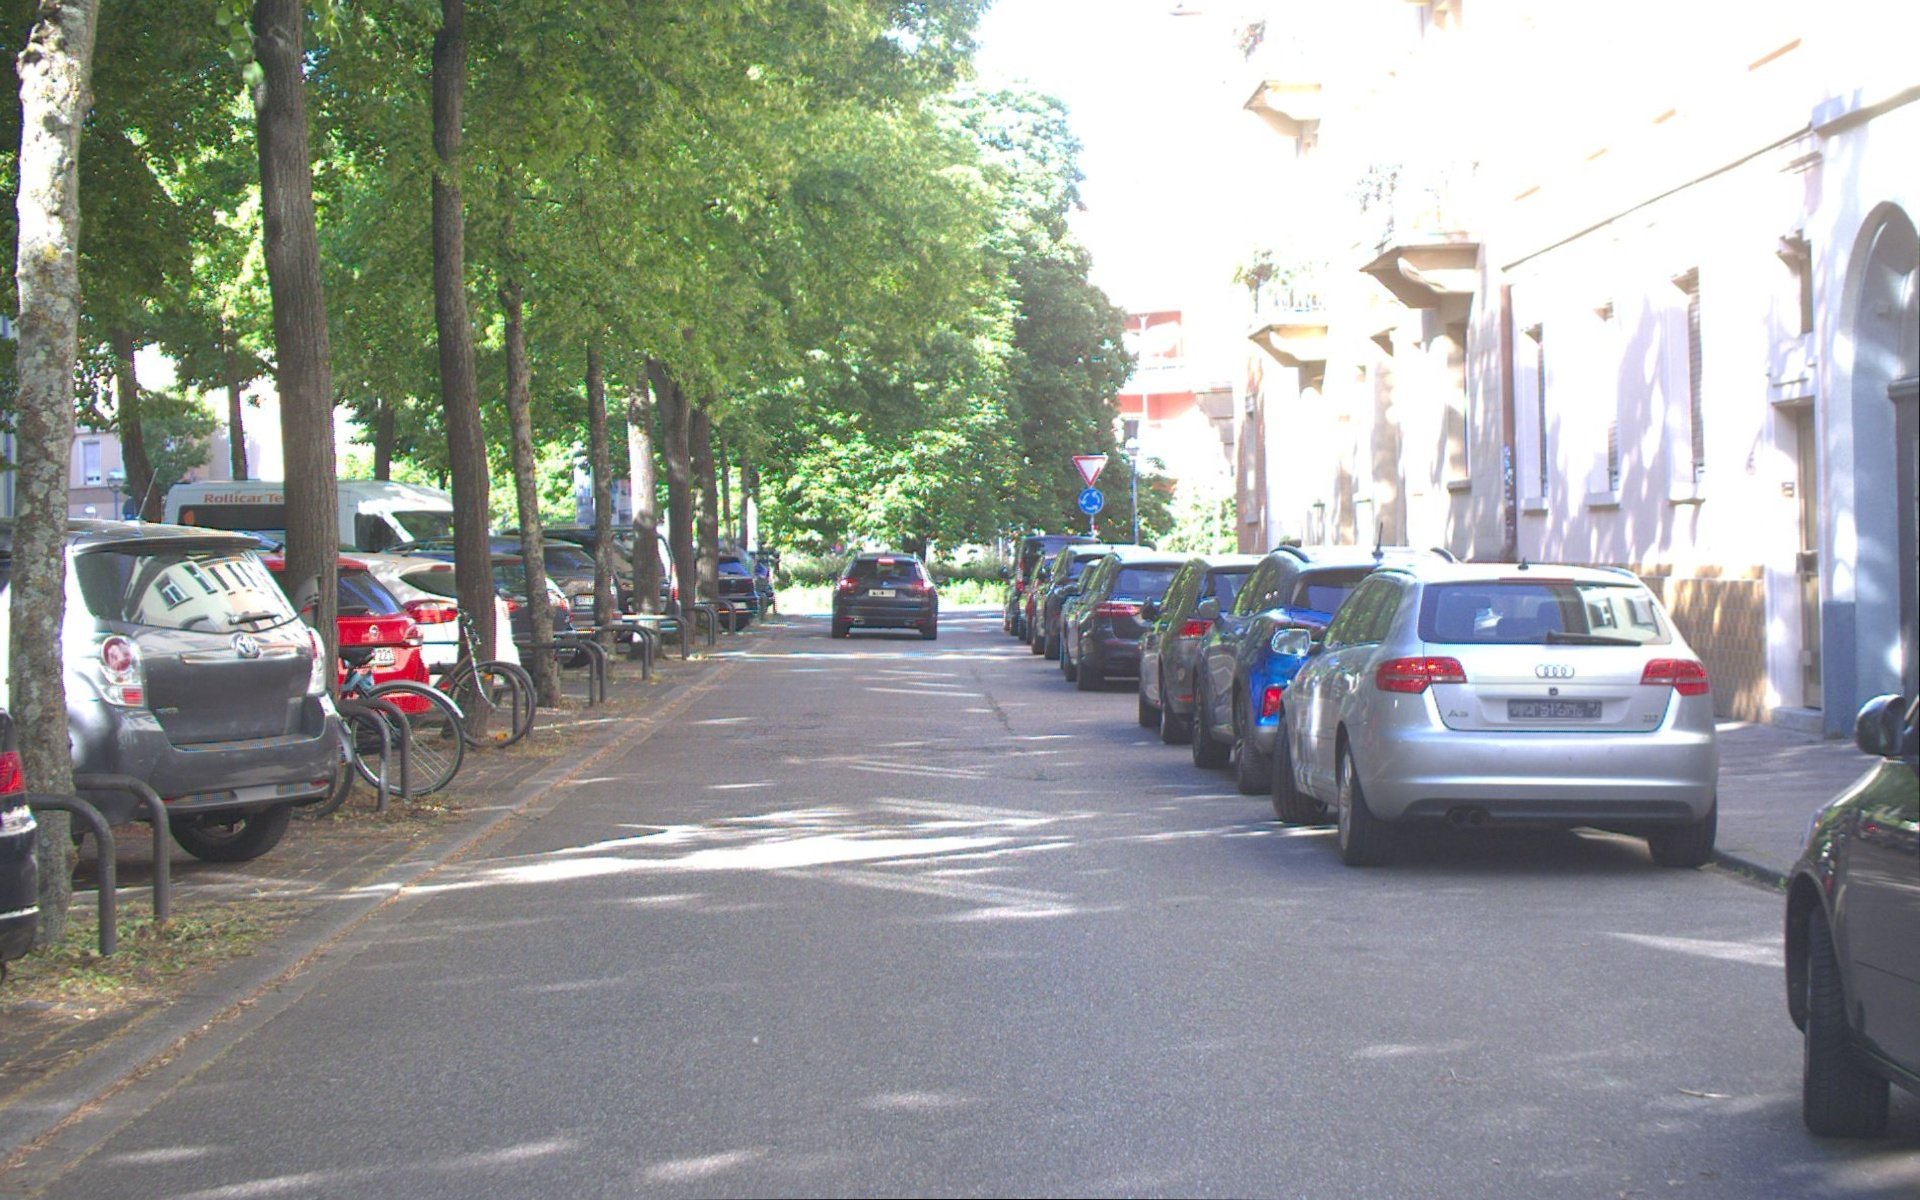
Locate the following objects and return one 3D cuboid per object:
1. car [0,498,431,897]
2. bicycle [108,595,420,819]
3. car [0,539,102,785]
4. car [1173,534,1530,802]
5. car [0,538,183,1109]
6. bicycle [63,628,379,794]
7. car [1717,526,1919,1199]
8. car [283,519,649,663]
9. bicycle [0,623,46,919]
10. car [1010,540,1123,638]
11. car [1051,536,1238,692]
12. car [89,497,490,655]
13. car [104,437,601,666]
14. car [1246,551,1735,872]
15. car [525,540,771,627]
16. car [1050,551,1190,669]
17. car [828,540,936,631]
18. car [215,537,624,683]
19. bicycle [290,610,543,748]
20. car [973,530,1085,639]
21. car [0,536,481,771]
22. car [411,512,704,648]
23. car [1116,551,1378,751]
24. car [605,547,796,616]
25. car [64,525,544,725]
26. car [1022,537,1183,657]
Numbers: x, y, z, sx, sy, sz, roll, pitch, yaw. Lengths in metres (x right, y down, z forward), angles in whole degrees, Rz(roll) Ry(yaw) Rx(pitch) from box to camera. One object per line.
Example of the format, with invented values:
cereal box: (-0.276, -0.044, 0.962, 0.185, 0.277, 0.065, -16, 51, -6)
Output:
car: (-4.691, 0.362, 15.970, 4.082, 1.647, 1.860, 1, 1, 26)
bicycle: (-3.781, 0.567, 18.650, 1.687, 1.155, 0.379, 1, 1, 19)
car: (-7.575, 0.360, 21.457, 4.109, 1.468, 1.869, 0, 1, 28)
car: (2.432, 0.366, 22.314, 1.767, 1.546, 4.184, -1, 1, -1)
car: (-4.258, 0.609, 9.882, 4.015, 1.469, 1.623, -1, 1, 35)
bicycle: (-4.386, 0.647, 20.377, 1.900, 0.916, 0.379, 1, 1, 19)
car: (2.822, 0.617, 7.229, 1.580, 1.545, 4.042, 0, 1, 0)
car: (-6.081, -0.132, 42.243, 4.268, 1.636, 1.653, 2, 1, 27)
bicycle: (-4.015, 0.666, 12.736, 0.428, 1.126, 1.677, 0, 1, 15)
car: (1.776, -0.211, 58.492, 1.645, 1.532, 4.000, 3, 1, -1)
car: (1.944, 0.105, 37.387, 1.805, 1.558, 4.321, -1, 1, 1)
car: (-7.892, -0.269, 40.422, 4.386, 1.771, 1.896, 0, 0, 27)
car: (-8.271, -0.623, 46.959, 6.069, 2.614, 2.453, -4, -1, 15)
car: (2.548, 0.469, 17.500, 1.769, 1.426, 4.291, 0, 1, -1)
car: (-5.553, -0.279, 61.040, 4.087, 1.461, 1.867, 1, 0, -14)
car: (1.994, 0.095, 43.660, 1.590, 1.410, 3.632, 1, 1, 0)
car: (-1.317, -0.274, 59.610, 1.714, 1.478, 4.145, -1, 1, 1)
car: (-5.775, 0.092, 36.659, 4.102, 1.476, 1.729, 0, 0, 28)
bicycle: (-3.992, 0.579, 25.259, 1.812, 0.990, 0.425, 0, 1, 15)
car: (1.235, -0.305, 63.239, 1.801, 1.864, 4.273, 3, 1, -1)
car: (-5.747, 0.310, 23.912, 4.621, 1.481, 1.758, 1, 1, 28)
car: (-5.800, -0.296, 49.452, 3.845, 1.882, 1.840, 0, 1, 32)
car: (2.222, 0.351, 27.550, 1.692, 1.463, 4.005, 1, 1, -1)
car: (-5.745, -0.404, 75.823, 4.138, 1.476, 1.772, 0, 0, 40)
car: (-5.617, 0.180, 29.463, 3.687, 1.590, 1.770, 1, 1, 24)
car: (2.025, -0.080, 50.080, 1.864, 1.638, 4.492, 1, 1, -3)
